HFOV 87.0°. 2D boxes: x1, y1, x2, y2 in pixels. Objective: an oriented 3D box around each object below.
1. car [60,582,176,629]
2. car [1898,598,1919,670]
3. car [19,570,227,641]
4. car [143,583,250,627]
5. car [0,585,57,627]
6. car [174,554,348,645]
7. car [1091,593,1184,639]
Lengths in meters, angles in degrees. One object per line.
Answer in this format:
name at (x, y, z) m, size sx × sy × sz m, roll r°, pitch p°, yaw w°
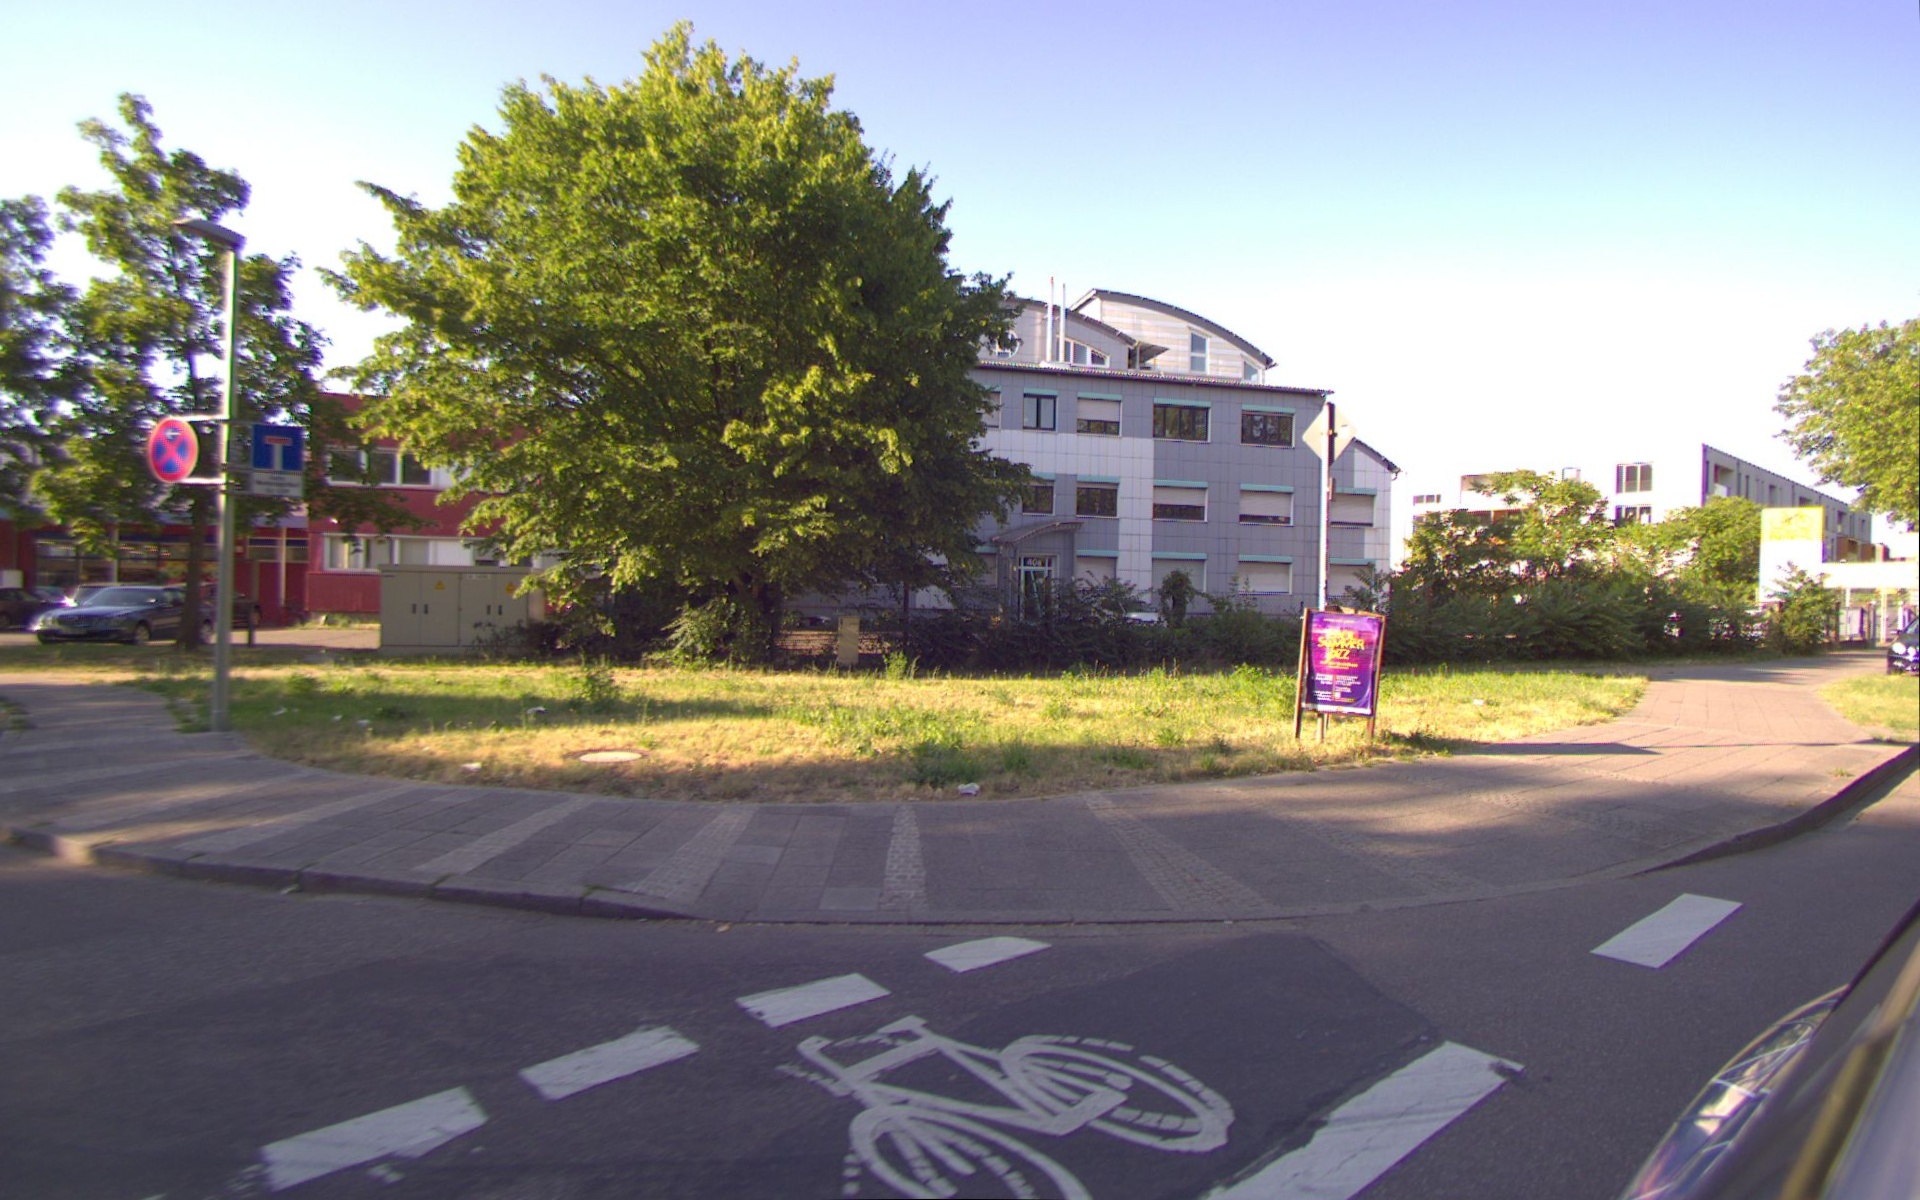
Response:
car at (-29.157, 0.212, 35.183) m, size 1.650 × 1.521 × 3.559 m, roll 0°, pitch -1°, yaw -13°
car at (22.713, 0.771, 22.806) m, size 4.607 × 1.534 × 1.786 m, roll 0°, pitch 2°, yaw -41°
car at (-19.254, 0.162, 23.586) m, size 1.751 × 1.495 × 4.675 m, roll 0°, pitch -1°, yaw -12°
car at (-26.467, 0.203, 35.212) m, size 1.650 × 1.444 × 3.559 m, roll 0°, pitch -1°, yaw -13°
car at (-32.070, 0.220, 33.535) m, size 1.650 × 1.368 × 3.559 m, roll 0°, pitch -1°, yaw -13°
car at (-15.638, -0.044, 22.942) m, size 1.671 × 1.841 × 4.454 m, roll 1°, pitch 1°, yaw -12°
car at (6.720, 0.562, 38.792) m, size 1.869 × 1.593 × 4.009 m, roll 0°, pitch 2°, yaw -18°
